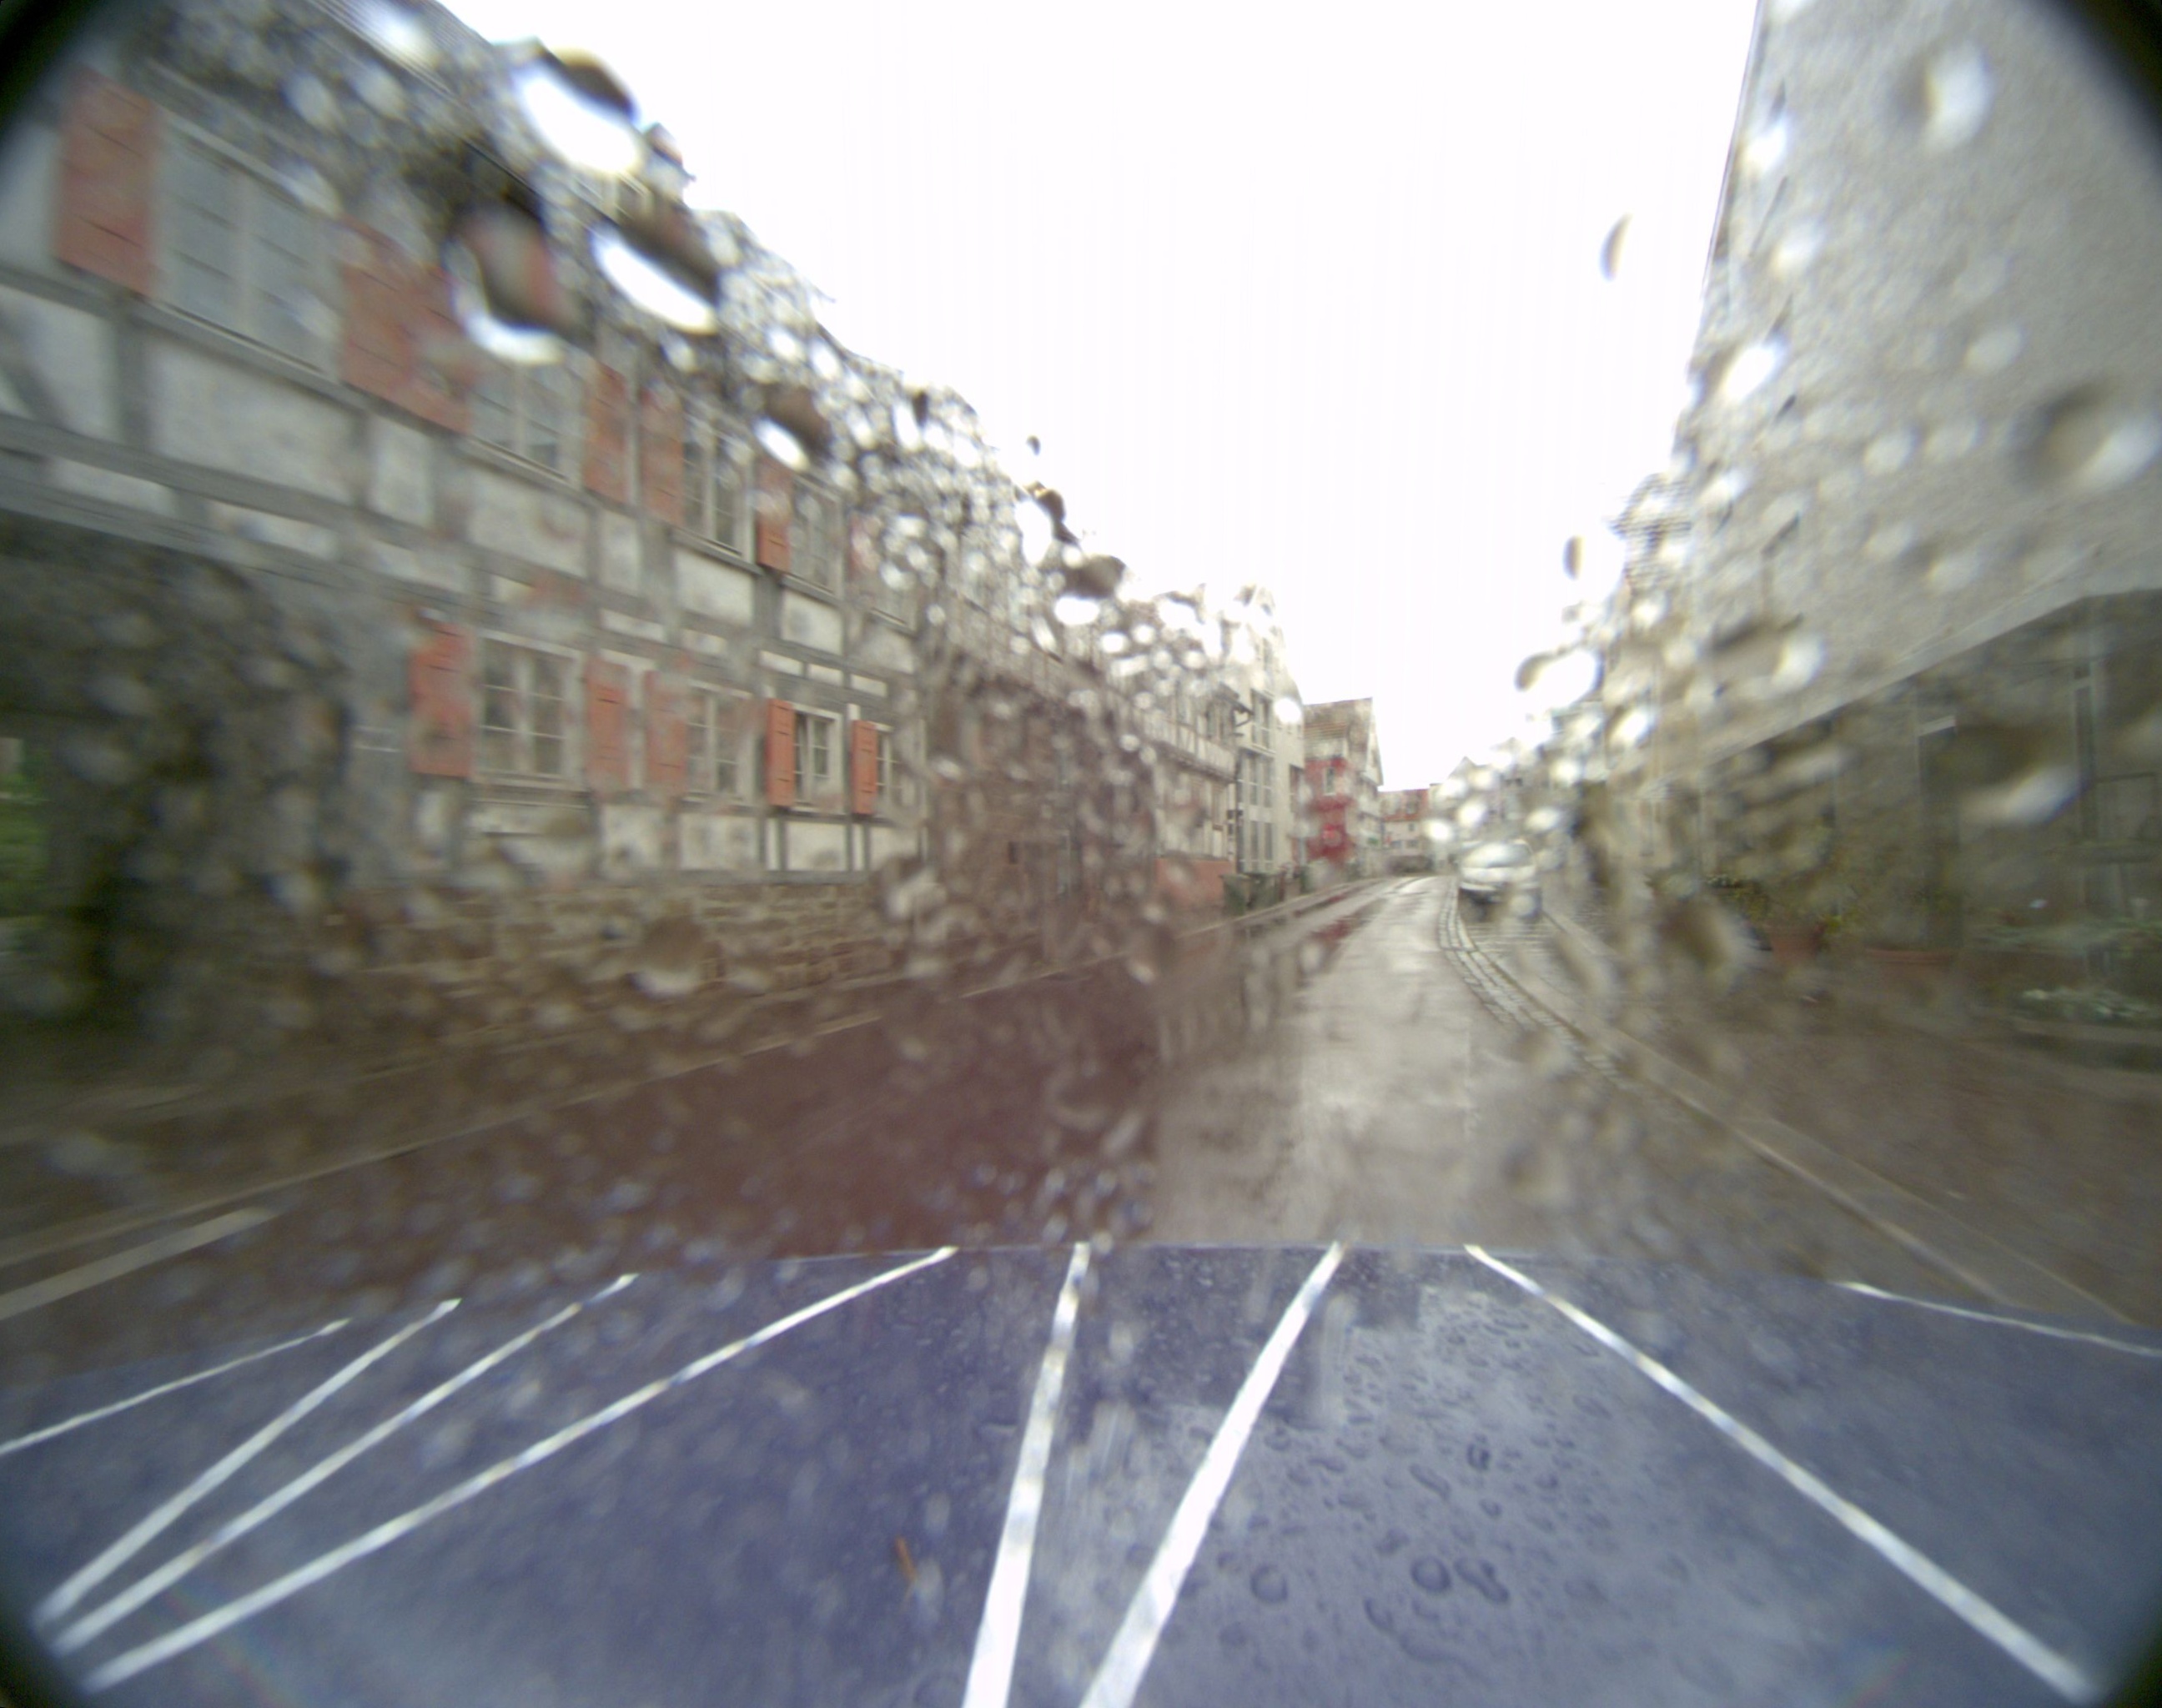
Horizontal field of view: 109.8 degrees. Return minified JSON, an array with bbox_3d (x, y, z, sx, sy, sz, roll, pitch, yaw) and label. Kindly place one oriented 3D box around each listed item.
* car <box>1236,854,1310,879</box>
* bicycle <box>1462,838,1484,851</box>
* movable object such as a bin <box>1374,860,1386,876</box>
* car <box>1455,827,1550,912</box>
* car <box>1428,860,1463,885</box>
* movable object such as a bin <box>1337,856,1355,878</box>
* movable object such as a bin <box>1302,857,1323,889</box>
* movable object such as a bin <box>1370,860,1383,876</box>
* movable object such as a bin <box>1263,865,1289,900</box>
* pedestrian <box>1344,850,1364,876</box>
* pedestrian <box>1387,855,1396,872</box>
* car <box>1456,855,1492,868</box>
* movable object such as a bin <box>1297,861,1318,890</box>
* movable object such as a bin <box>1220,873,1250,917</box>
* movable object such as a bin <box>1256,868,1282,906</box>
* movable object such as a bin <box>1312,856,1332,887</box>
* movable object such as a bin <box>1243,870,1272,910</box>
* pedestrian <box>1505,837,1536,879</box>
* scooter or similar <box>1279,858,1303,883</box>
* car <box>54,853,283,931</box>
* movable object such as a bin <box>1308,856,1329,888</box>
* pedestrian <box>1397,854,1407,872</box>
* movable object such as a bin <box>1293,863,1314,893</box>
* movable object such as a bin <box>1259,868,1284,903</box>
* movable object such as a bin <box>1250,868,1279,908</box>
[{"bbox_3d":[11.820,0.758,46.797,3.988,1.505,1.915,-1,0,37],"label":"car"},{"bbox_3d":[36.675,-0.885,71.092,1.749,1.157,0.444,-2,1,7],"label":"bicycle"},{"bbox_3d":[21.175,1.001,53.865,0.677,1.077,0.699,-2,-1,28],"label":"movable object such as a bin"},{"bbox_3d":[10.175,0.315,18.589,1.725,1.814,4.435,-2,0,26],"label":"car"},{"bbox_3d":[23.045,1.173,47.964,1.832,1.489,4.773,-1,-1,28],"label":"car"},{"bbox_3d":[14.196,0.680,40.718,0.804,1.124,0.864,-2,0,25],"label":"movable object such as a bin"},{"bbox_3d":[9.362,0.763,30.690,0.638,1.283,0.633,-2,1,31],"label":"movable object such as a bin"},{"bbox_3d":[20.469,0.936,52.612,0.729,1.075,0.648,-2,-1,28],"label":"movable object such as a bin"},{"bbox_3d":[6.488,0.941,25.272,0.679,1.090,0.651,-3,0,23],"label":"movable object such as a bin"},{"bbox_3d":[17.997,0.580,50.035,1.178,1.687,1.179,0,0,24],"label":"pedestrian"},{"bbox_3d":[34.802,1.050,85.115,0.655,1.892,0.659,1,1,0],"label":"pedestrian"},{"bbox_3d":[51.068,1.000,98.683,3.988,1.574,1.836,-2,0,33],"label":"car"},{"bbox_3d":[8.991,0.846,30.101,0.616,1.125,0.633,-2,1,31],"label":"movable object such as a bin"},{"bbox_3d":[4.079,1.082,20.093,0.610,1.121,0.600,-2,1,26],"label":"movable object such as a bin"},{"bbox_3d":[5.817,1.009,23.480,0.638,1.140,0.633,-2,0,24],"label":"movable object such as a bin"},{"bbox_3d":[10.294,0.732,32.397,0.638,1.283,0.633,-2,1,31],"label":"movable object such as a bin"},{"bbox_3d":[5.173,1.042,22.220,0.638,1.140,0.581,-2,1,31],"label":"movable object such as a bin"},{"bbox_3d":[19.419,0.171,33.571,1.036,1.795,1.118,-3,-1,27],"label":"pedestrian"},{"bbox_3d":[10.221,0.812,36.996,0.665,1.139,1.449,-2,0,33],"label":"scooter or similar"},{"bbox_3d":[-19.330,0.743,16.193,1.408,1.442,2.992,-1,0,36],"label":"car"},{"bbox_3d":[9.845,0.742,31.492,0.638,1.283,0.633,-2,1,31],"label":"movable object such as a bin"},{"bbox_3d":[35.744,1.017,84.662,0.773,1.893,0.805,-2,0,0],"label":"pedestrian"},{"bbox_3d":[8.652,0.914,29.504,0.616,1.125,0.633,-2,1,31],"label":"movable object such as a bin"},{"bbox_3d":[6.055,0.988,24.112,0.670,1.075,0.588,-1,2,25],"label":"movable object such as a bin"},{"bbox_3d":[5.501,1.017,22.797,0.638,1.140,0.605,-2,1,31],"label":"movable object such as a bin"}]
